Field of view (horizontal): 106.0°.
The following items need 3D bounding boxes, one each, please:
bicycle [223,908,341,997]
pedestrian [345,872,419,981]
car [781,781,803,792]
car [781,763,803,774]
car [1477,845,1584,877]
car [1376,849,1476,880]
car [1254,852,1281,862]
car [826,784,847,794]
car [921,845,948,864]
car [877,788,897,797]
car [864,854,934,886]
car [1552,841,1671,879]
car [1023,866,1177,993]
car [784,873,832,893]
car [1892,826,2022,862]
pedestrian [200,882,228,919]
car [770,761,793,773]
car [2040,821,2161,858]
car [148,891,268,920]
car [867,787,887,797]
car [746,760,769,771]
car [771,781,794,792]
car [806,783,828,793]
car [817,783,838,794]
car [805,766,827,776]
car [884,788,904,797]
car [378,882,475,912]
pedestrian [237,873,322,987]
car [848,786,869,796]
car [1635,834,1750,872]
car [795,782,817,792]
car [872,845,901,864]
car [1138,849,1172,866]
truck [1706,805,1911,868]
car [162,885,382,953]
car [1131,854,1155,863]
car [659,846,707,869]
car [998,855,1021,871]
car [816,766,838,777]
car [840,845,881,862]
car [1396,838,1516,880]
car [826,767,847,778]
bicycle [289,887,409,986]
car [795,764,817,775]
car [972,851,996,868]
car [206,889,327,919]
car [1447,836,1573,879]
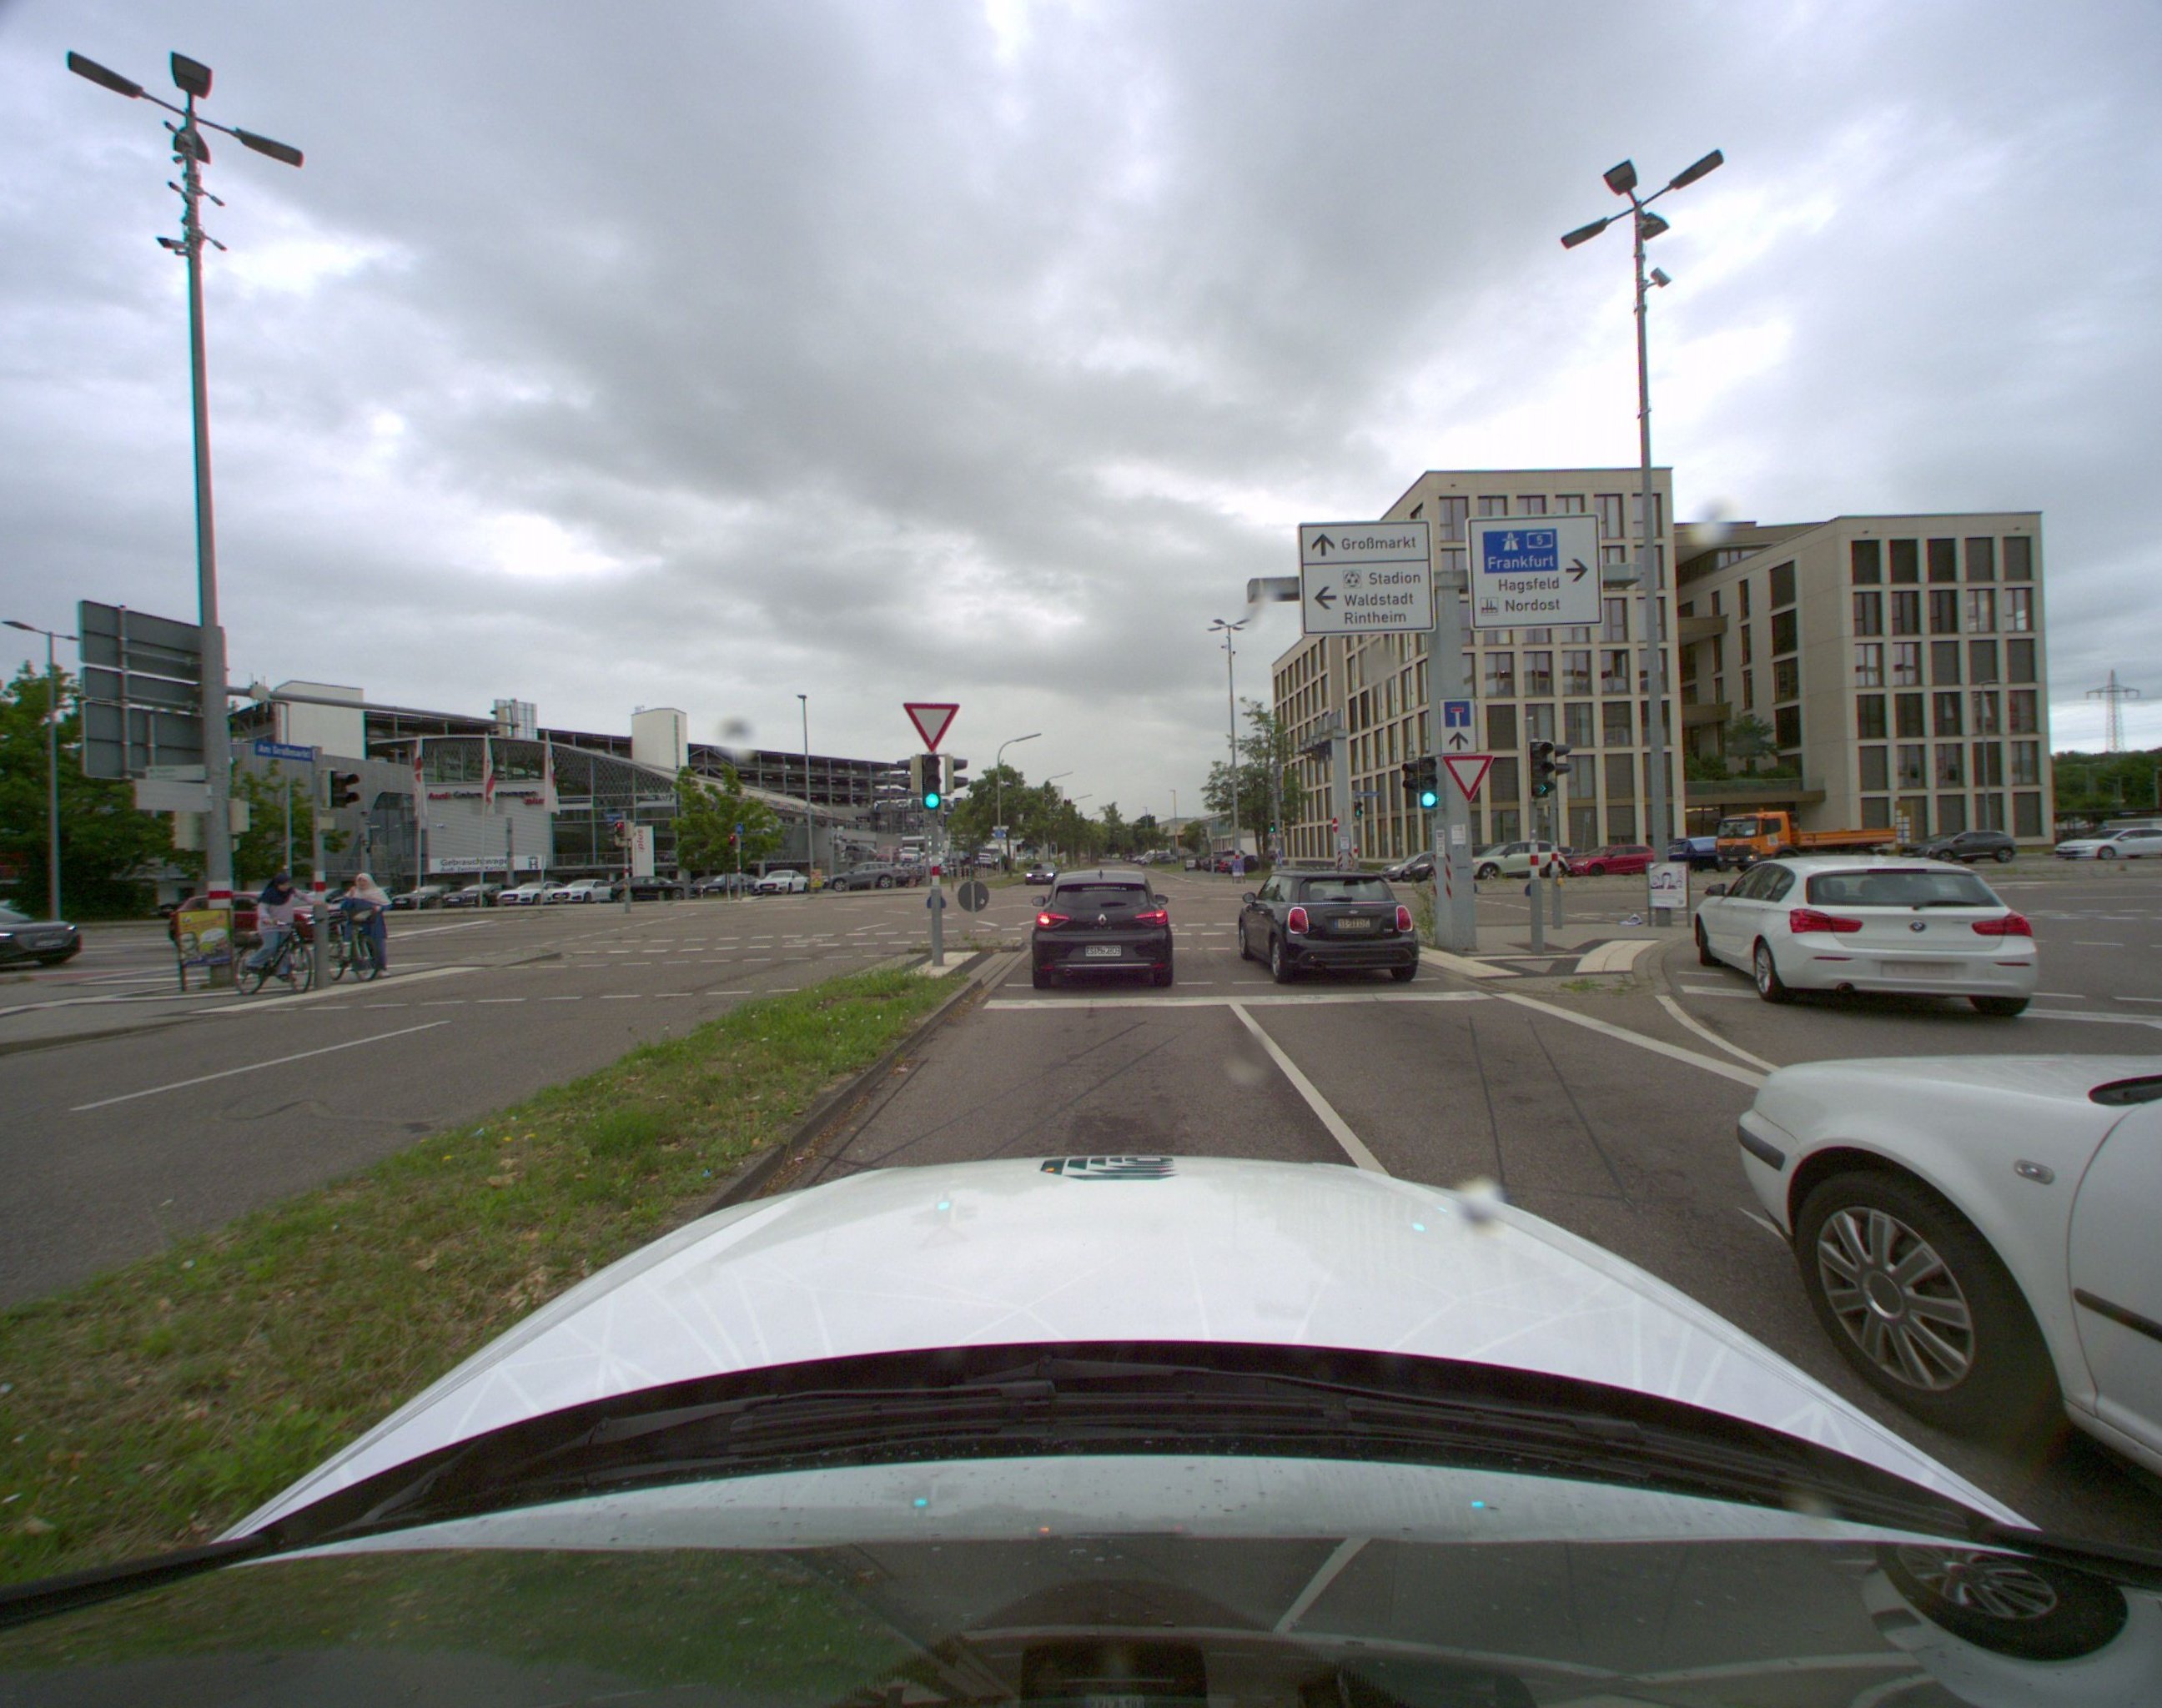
[{"bbox_3d":[-11.317,1.388,11.521,1.923,1.166,0.511,-3,-3,24],"label":"bicycle"},{"bbox_3d":[-11.027,1.133,12.850,0.683,1.626,0.645,-4,0,33],"label":"pedestrian"},{"bbox_3d":[-54.871,-12.788,154.519,3.948,1.667,2.013,-1,-1,34],"label":"car"},{"bbox_3d":[-54.757,-16.222,154.262,3.948,1.667,2.013,-1,-1,34],"label":"car"},{"bbox_3d":[21.574,0.331,39.187,4.125,1.491,1.870,0,-1,-2],"label":"car"},{"bbox_3d":[16.517,0.520,39.110,4.074,1.432,1.750,0,-1,-2],"label":"car"},{"bbox_3d":[24.832,0.439,108.659,3.237,1.332,1.477,0,-1,-17],"label":"car"},{"bbox_3d":[-48.869,-12.930,162.754,3.948,1.667,2.013,-1,-1,34],"label":"car"},{"bbox_3d":[-14.769,0.084,82.288,1.988,1.823,3.997,0,-1,-1],"label":"car"},{"bbox_3d":[-41.619,-13.214,174.368,3.948,1.667,2.013,-1,-1,34],"label":"car"},{"bbox_3d":[-13.452,1.177,60.423,4.764,2.014,1.997,-4,-1,-5],"label":"car"},{"bbox_3d":[23.406,0.277,36.024,3.976,1.601,1.999,0,-1,-2],"label":"car"},{"bbox_3d":[0.293,0.902,11.296,1.750,1.435,4.002,0,-1,2],"label":"car"},{"bbox_3d":[-25.568,2.676,76.356,3.979,1.838,1.757,0,-1,-4],"label":"car"},{"bbox_3d":[42.801,-0.474,39.868,4.089,1.657,2.002,0,-1,3],"label":"car"},{"bbox_3d":[-45.027,2.411,42.319,0.715,1.871,0.673,-2,-2,-3],"label":"pedestrian"},{"bbox_3d":[-56.114,-16.249,152.433,3.948,1.667,2.013,-1,-1,34],"label":"car"},{"bbox_3d":[49.278,-0.689,38.793,4.318,1.657,2.006,-1,-1,10],"label":"car"},{"bbox_3d":[-46.412,2.723,43.444,1.845,1.421,4.214,-2,-3,-2],"label":"car"},{"bbox_3d":[-42.995,-13.116,171.881,3.948,1.667,2.013,-1,-1,34],"label":"car"},{"bbox_3d":[-58.873,-16.064,148.063,3.948,1.667,2.013,-1,-1,34],"label":"car"},{"bbox_3d":[-55.852,-12.687,152.463,3.948,1.667,2.013,-1,-1,34],"label":"car"},{"bbox_3d":[-51.518,-12.909,158.781,3.948,1.667,2.013,-1,-1,34],"label":"car"},{"bbox_3d":[-50.121,-12.932,160.937,3.948,1.667,2.013,-1,-1,34],"label":"car"},{"bbox_3d":[-51.722,-16.175,158.829,3.948,1.667,2.013,-1,-1,34],"label":"car"},{"bbox_3d":[-40.433,-13.265,176.292,3.948,1.667,2.013,-1,-1,34],"label":"car"},{"bbox_3d":[-35.330,2.328,44.099,1.897,1.486,4.187,-2,-3,-2],"label":"car"},{"bbox_3d":[-11.307,1.057,11.501,0.642,1.549,0.657,-3,-3,24],"label":"pedestrian"},{"bbox_3d":[-45.834,-12.938,167.589,3.948,1.667,2.013,-1,-1,34],"label":"car"},{"bbox_3d":[29.662,-0.047,39.604,4.125,1.769,1.998,0,-1,-2],"label":"car"},{"bbox_3d":[-52.946,-12.876,156.695,3.948,1.667,2.013,-1,-1,34],"label":"car"},{"bbox_3d":[-19.665,0.036,82.548,1.988,1.849,3.997,0,-1,-1],"label":"car"},{"bbox_3d":[13.584,0.604,149.640,6.095,3.116,2.134,0,-1,0],"label":"car"},{"bbox_3d":[32.221,-0.726,36.245,6.632,2.639,2.820,0,-1,-1],"label":"truck"},{"bbox_3d":[-22.195,1.743,22.483,4.057,1.487,1.738,-3,0,-4],"label":"car"},{"bbox_3d":[13.206,1.042,173.648,4.770,1.891,2.143,0,-1,-1],"label":"car"},{"bbox_3d":[-30.399,0.307,62.310,1.815,1.662,3.996,0,-1,-3],"label":"car"},{"bbox_3d":[-7.267,0.907,83.079,1.987,1.618,3.999,0,-1,0],"label":"car"},{"bbox_3d":[-50.239,-16.325,161.091,3.948,1.667,2.013,-1,-1,34],"label":"car"},{"bbox_3d":[-24.137,-0.065,89.242,3.975,1.838,1.759,0,-1,-1],"label":"car"},{"bbox_3d":[16.435,0.215,35.830,4.396,1.769,1.998,0,-1,-2],"label":"car"},{"bbox_3d":[-48.878,-16.291,162.875,3.948,1.667,2.013,-1,-1,34],"label":"car"},{"bbox_3d":[-11.179,1.243,12.422,1.910,1.396,0.600,-3,0,25],"label":"bicycle"},{"bbox_3d":[-52.963,-16.205,156.852,3.948,1.667,2.013,-1,-1,34],"label":"car"},{"bbox_3d":[-9.800,0.573,82.376,1.988,1.618,3.997,0,-1,-1],"label":"car"},{"bbox_3d":[-43.605,2.651,43.772,1.837,1.472,4.660,-1,-3,-2],"label":"car"},{"bbox_3d":[17.066,0.165,32.531,4.046,1.643,1.903,0,-1,-4],"label":"car"}]
